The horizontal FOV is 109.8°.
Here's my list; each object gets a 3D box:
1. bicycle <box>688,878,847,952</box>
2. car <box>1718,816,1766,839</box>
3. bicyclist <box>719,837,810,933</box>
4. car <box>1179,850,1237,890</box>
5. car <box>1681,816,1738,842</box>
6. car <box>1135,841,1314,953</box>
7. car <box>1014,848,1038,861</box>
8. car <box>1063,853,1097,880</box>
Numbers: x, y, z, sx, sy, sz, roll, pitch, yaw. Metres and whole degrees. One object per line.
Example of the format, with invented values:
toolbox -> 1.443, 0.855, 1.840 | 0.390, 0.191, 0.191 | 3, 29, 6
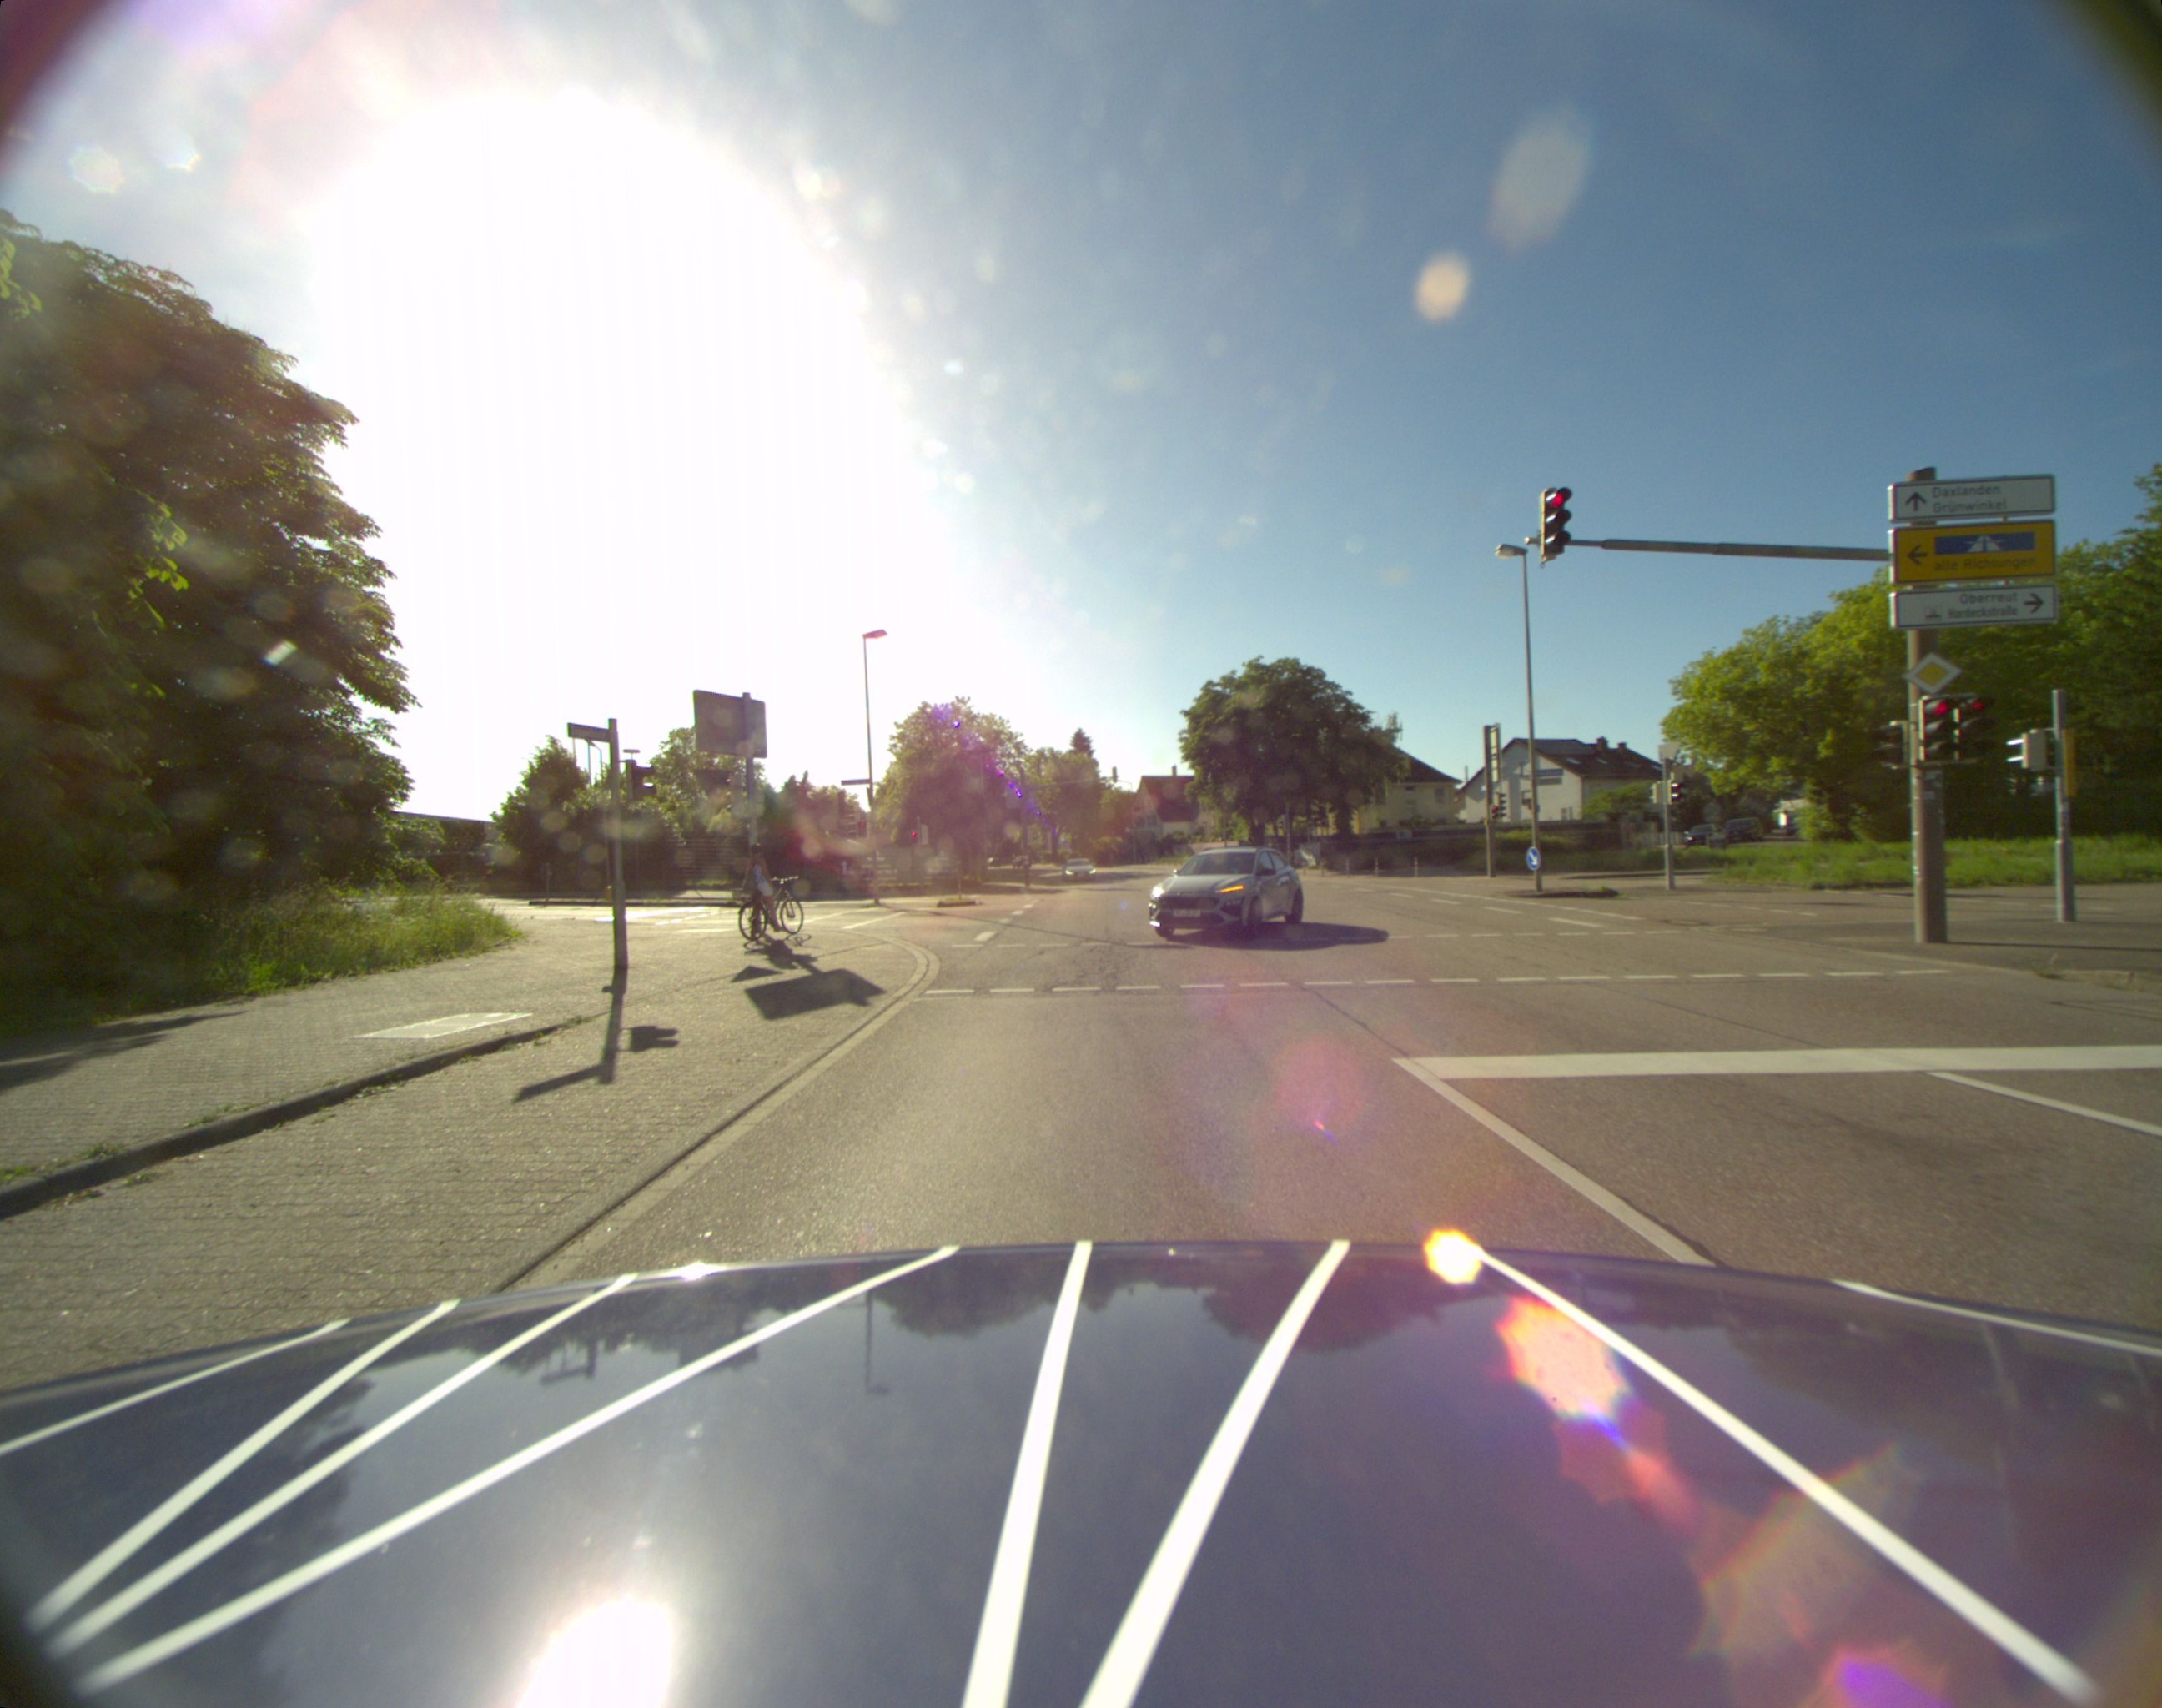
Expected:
bicycle -> -5.718, 1.074, 14.169 | 0.901, 1.119, 2.957 | -3, 0, 21
car -> 51.857, -2.111, 59.617 | 4.007, 1.656, 1.958 | -3, 1, -35
bicyclist -> -5.811, 0.552, 13.995 | 0.890, 1.683, 1.192 | -3, 0, 21
car -> 5.503, 0.647, 32.529 | 1.860, 1.461, 4.143 | -2, 1, 17
car -> 43.166, -1.712, 52.147 | 4.007, 1.547, 1.995 | -3, 0, -35
car -> 2.803, 0.692, 14.093 | 1.712, 1.636, 4.062 | -4, 1, 34
car -> -7.728, 0.082, 106.338 | 1.865, 1.625, 4.248 | -2, 0, -26
car -> -0.115, 0.758, 47.488 | 1.810, 1.523, 4.513 | -2, 1, -3
